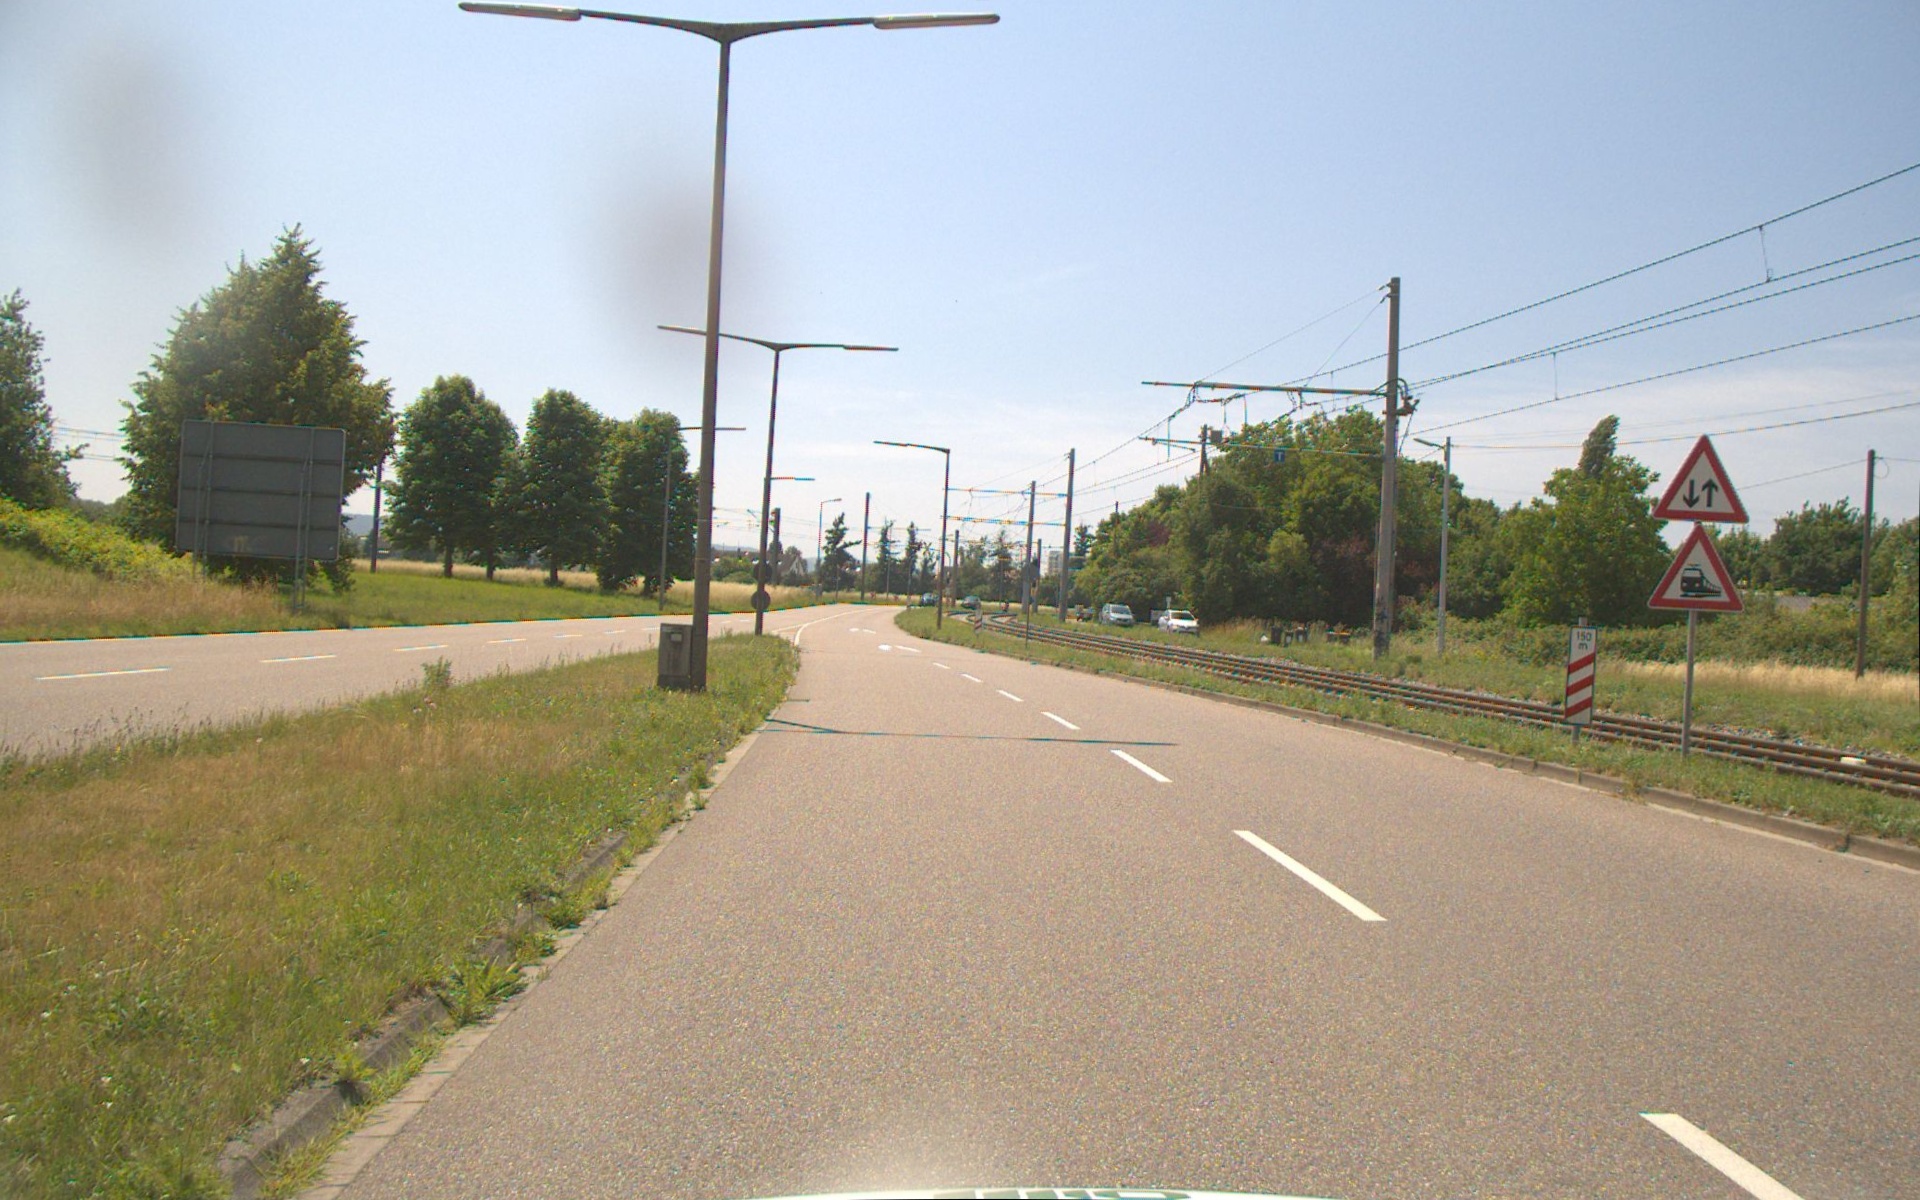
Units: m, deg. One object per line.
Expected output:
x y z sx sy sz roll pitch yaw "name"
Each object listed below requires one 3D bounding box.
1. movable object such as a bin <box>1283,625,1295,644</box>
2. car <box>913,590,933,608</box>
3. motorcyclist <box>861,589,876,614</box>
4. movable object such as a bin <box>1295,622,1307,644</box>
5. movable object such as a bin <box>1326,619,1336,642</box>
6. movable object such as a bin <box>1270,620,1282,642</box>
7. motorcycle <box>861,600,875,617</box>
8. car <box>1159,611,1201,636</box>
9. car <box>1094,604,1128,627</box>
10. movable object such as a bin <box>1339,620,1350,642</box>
16.410 1.710 82.414 0.513 0.879 0.500 3 0 7 "movable object such as a bin"
-4.000 -0.103 180.247 1.374 1.802 3.256 4 -1 12 "car"
-9.196 0.179 166.763 1.205 2.391 1.107 4 -1 2 "motorcyclist"
16.926 1.652 82.091 0.513 1.068 0.500 3 0 7 "movable object such as a bin"
18.415 1.511 82.094 0.439 1.068 0.500 2 0 9 "movable object such as a bin"
15.767 1.558 82.546 0.513 1.068 0.500 3 0 7 "movable object such as a bin"
-9.266 0.834 166.544 0.969 1.608 3.401 4 -1 2 "motorcycle"
11.858 1.278 89.239 1.533 1.200 3.075 3 0 -7 "car"
10.280 1.072 112.665 1.639 1.421 3.646 5 -1 -5 "car"
18.984 1.529 81.718 0.439 1.068 0.500 2 0 9 "movable object such as a bin"
